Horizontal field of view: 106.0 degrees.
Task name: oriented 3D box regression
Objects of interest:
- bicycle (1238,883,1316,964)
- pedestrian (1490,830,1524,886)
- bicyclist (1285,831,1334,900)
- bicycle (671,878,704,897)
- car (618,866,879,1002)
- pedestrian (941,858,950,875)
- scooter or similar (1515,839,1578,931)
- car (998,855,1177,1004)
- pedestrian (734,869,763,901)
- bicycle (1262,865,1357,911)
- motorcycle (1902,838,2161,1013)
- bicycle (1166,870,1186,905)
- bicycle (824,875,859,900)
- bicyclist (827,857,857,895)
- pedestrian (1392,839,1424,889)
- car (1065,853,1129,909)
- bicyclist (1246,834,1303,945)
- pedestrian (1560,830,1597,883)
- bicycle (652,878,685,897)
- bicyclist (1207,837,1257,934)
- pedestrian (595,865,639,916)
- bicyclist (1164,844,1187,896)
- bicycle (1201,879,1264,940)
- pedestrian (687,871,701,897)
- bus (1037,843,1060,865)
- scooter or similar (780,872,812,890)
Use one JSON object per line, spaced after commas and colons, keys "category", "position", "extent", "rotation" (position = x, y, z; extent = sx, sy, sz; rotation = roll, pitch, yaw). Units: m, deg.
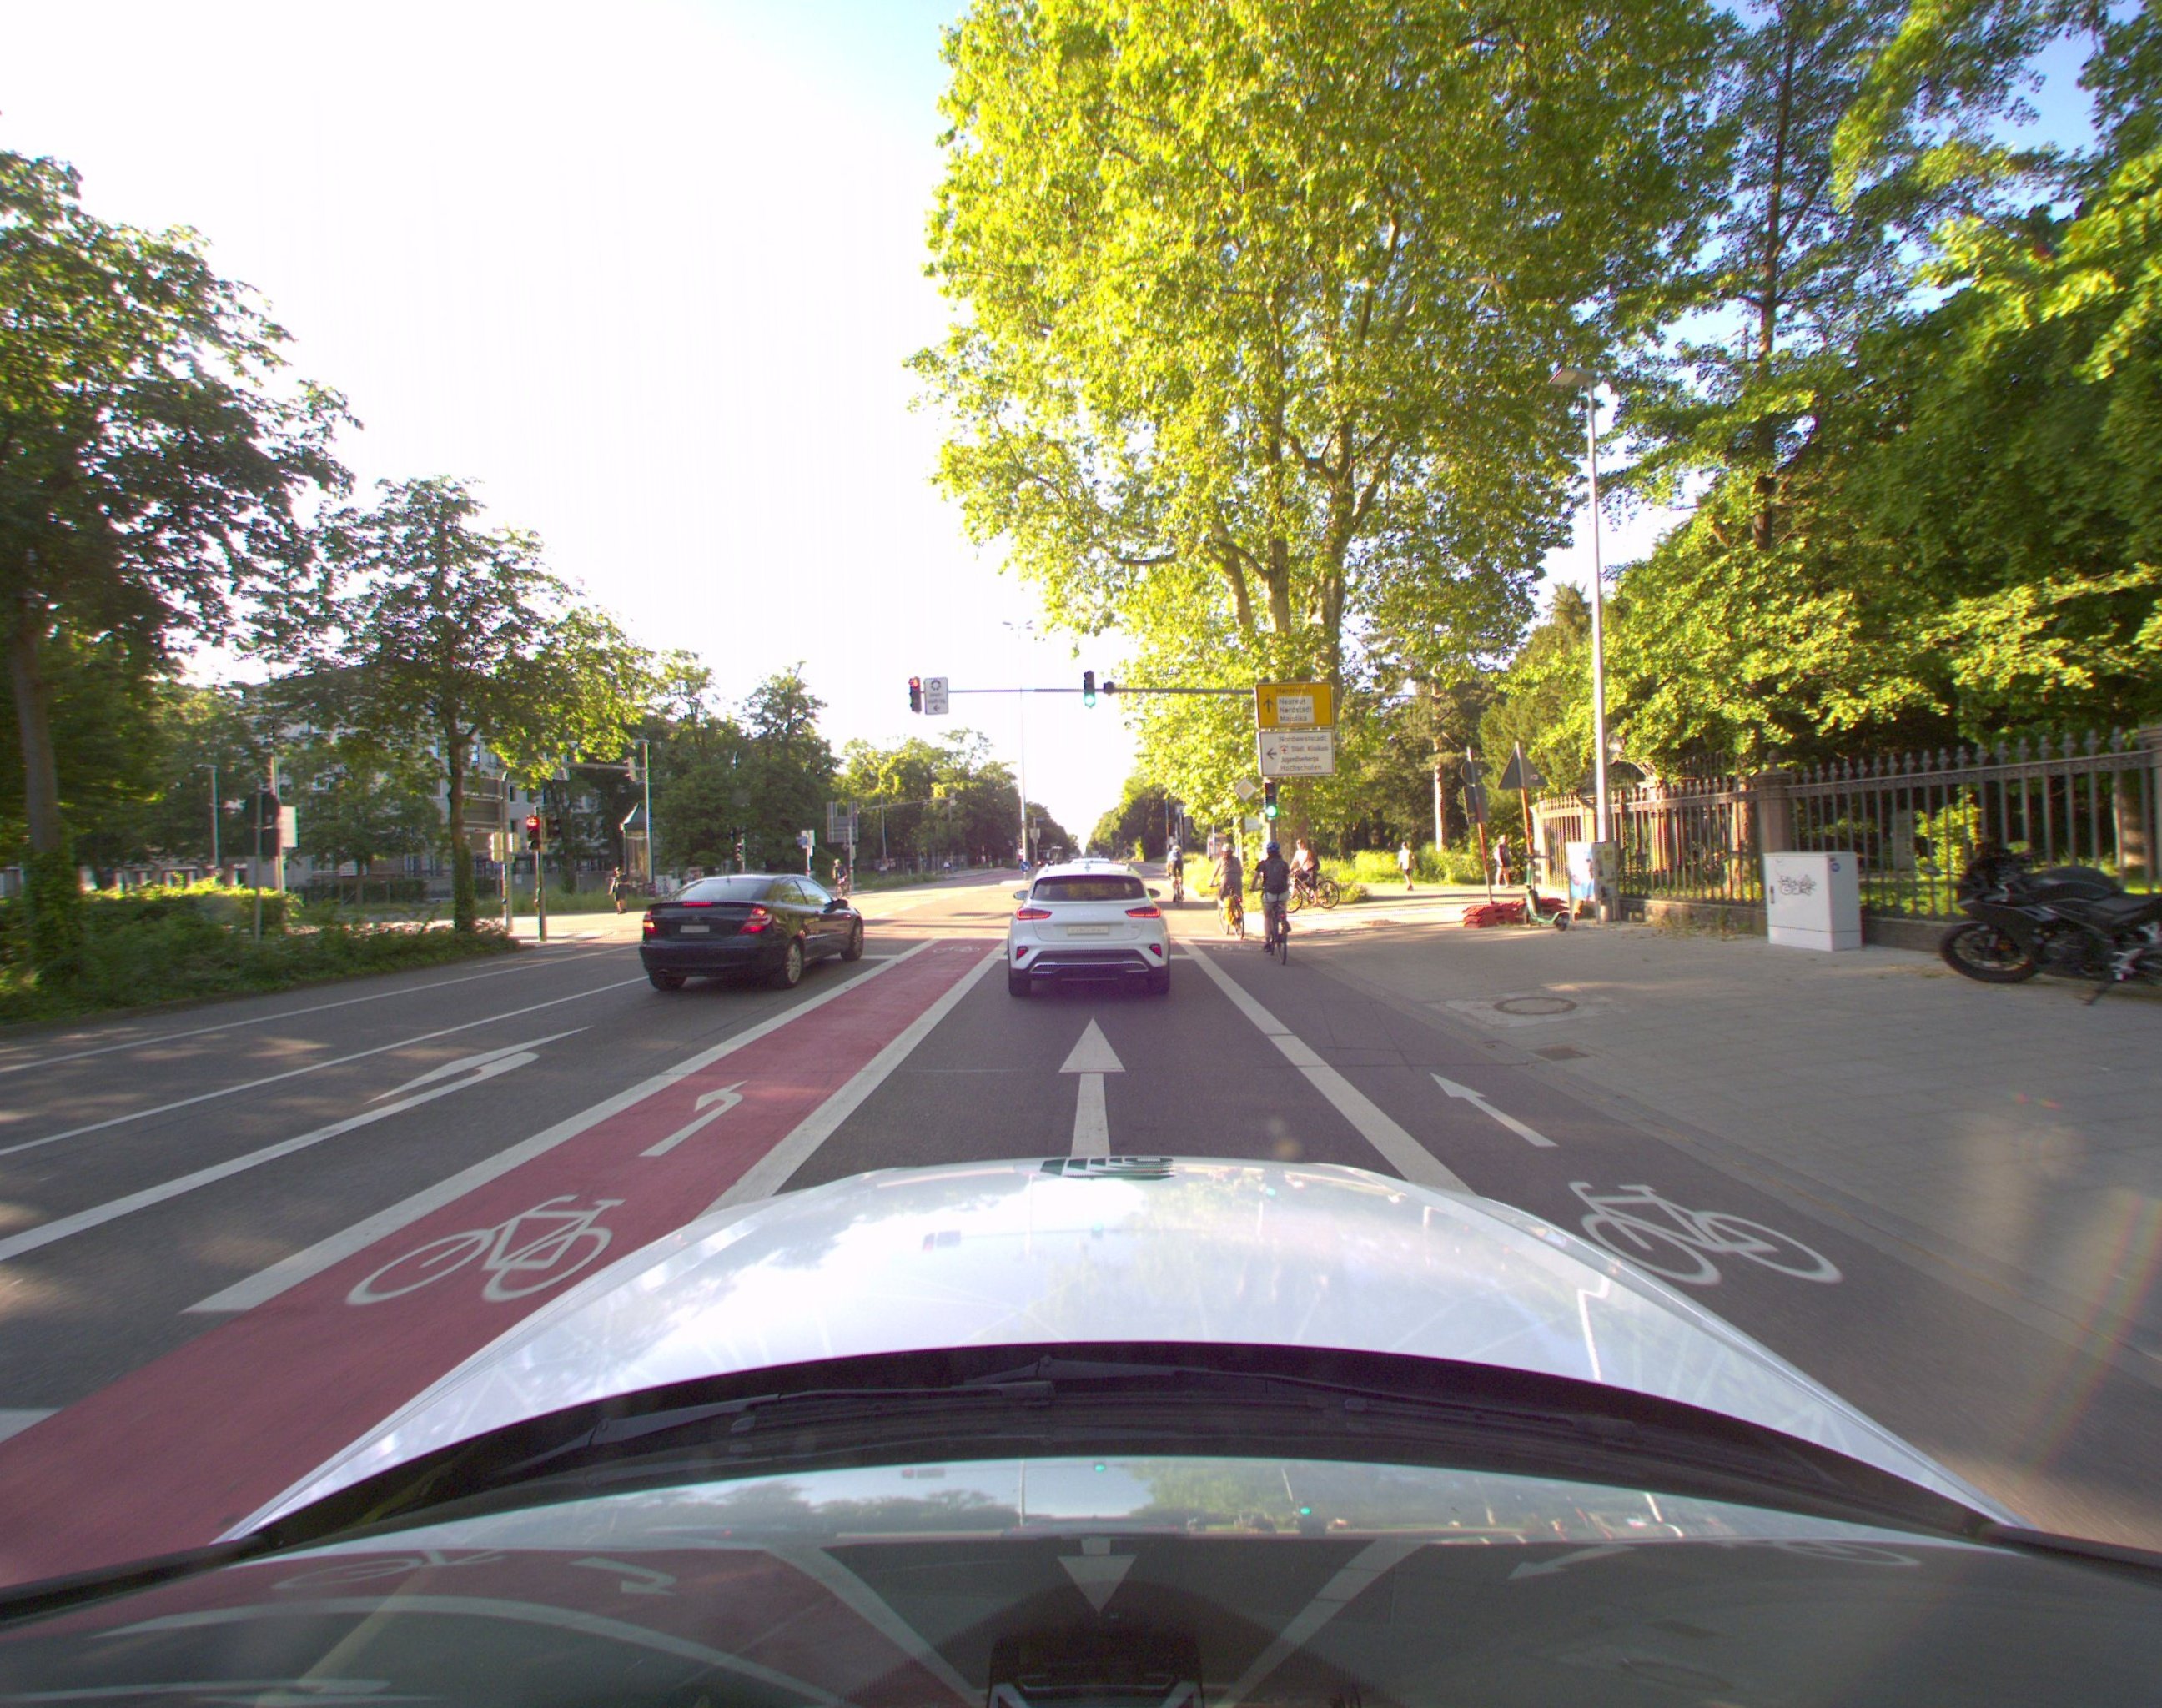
{"category": "bicycle", "position": [2.875, 0.982, 12.131], "extent": [0.666, 1.009, 2.081], "rotation": [-1, 0, 0]}
{"category": "pedestrian", "position": [13.223, 0.133, 25.308], "extent": [0.686, 1.699, 0.644], "rotation": [-1, -1, 1]}
{"category": "bicyclist", "position": [5.600, 0.280, 19.972], "extent": [0.847, 1.613, 0.733], "rotation": [-3, 0, -11]}
{"category": "bicycle", "position": [-24.825, 2.104, 51.372], "extent": [1.859, 1.148, 0.290], "rotation": [-1, -1, -6]}
{"category": "car", "position": [-4.297, 0.935, 11.353], "extent": [1.698, 1.405, 4.266], "rotation": [-3, 0, 2]}
{"category": "pedestrian", "position": [-14.810, 1.345, 89.150], "extent": [0.782, 1.785, 0.751], "rotation": [-1, -1, 2]}
{"category": "scooter or similar", "position": [7.076, 0.455, 12.422], "extent": [0.227, 1.327, 1.172], "rotation": [-3, 0, 0]}
{"category": "car", "position": [0.086, 0.787, 10.423], "extent": [1.815, 1.480, 3.936], "rotation": [-2, 0, 0]}
{"category": "pedestrian", "position": [-17.623, 1.630, 43.223], "extent": [1.086, 1.603, 0.999], "rotation": [-3, 0, -5]}
{"category": "bicycle", "position": [5.603, 0.808, 19.967], "extent": [2.094, 0.976, 0.747], "rotation": [-3, 0, -11]}
{"category": "motorcycle", "position": [7.327, 0.470, 5.898], "extent": [0.504, 1.131, 2.170], "rotation": [-4, -1, 0]}
{"category": "bicycle", "position": [2.720, 0.948, 23.407], "extent": [0.400, 0.956, 1.551], "rotation": [-1, -1, 1]}
{"category": "bicycle", "position": [-10.822, 1.486, 36.930], "extent": [0.660, 0.989, 2.507], "rotation": [-3, 0, 4]}
{"category": "bicyclist", "position": [-10.838, 0.985, 36.993], "extent": [0.871, 1.608, 1.189], "rotation": [-3, 0, 3]}
{"category": "pedestrian", "position": [10.147, 0.306, 25.255], "extent": [0.810, 1.518, 0.922], "rotation": [-2, -1, 28]}
{"category": "car", "position": [0.455, 0.762, 24.693], "extent": [1.723, 1.483, 3.516], "rotation": [-3, 0, 0]}
{"category": "bicyclist", "position": [2.868, 0.509, 12.107], "extent": [0.663, 1.602, 0.721], "rotation": [-1, 0, 0]}
{"category": "pedestrian", "position": [16.280, 0.075, 26.642], "extent": [0.819, 1.681, 0.696], "rotation": [-2, -1, 15]}
{"category": "bicycle", "position": [-26.174, 2.147, 51.673], "extent": [1.859, 1.148, 0.442], "rotation": [-1, -1, -6]}
{"category": "bicyclist", "position": [2.881, 0.581, 15.657], "extent": [0.750, 1.796, 1.165], "rotation": [0, 0, 0]}
{"category": "pedestrian", "position": [-18.946, 1.482, 33.278], "extent": [0.990, 2.014, 1.193], "rotation": [-1, -1, 7]}
{"category": "bicyclist", "position": [2.725, 0.462, 23.483], "extent": [0.552, 1.478, 0.717], "rotation": [-1, -1, 1]}
{"category": "bicycle", "position": [2.882, 1.020, 15.754], "extent": [0.755, 1.013, 2.569], "rotation": [0, 0, 0]}
{"category": "pedestrian", "position": [-24.288, 1.875, 51.110], "extent": [0.628, 1.580, 0.444], "rotation": [-3, 0, -8]}
{"category": "bus", "position": [-5.773, -0.022, 147.687], "extent": [3.730, 3.673, 13.234], "rotation": [-3, 0, -1]}
{"category": "scooter or similar", "position": [-18.838, 1.776, 53.906], "extent": [0.703, 1.124, 1.933], "rotation": [-2, -1, 34]}
